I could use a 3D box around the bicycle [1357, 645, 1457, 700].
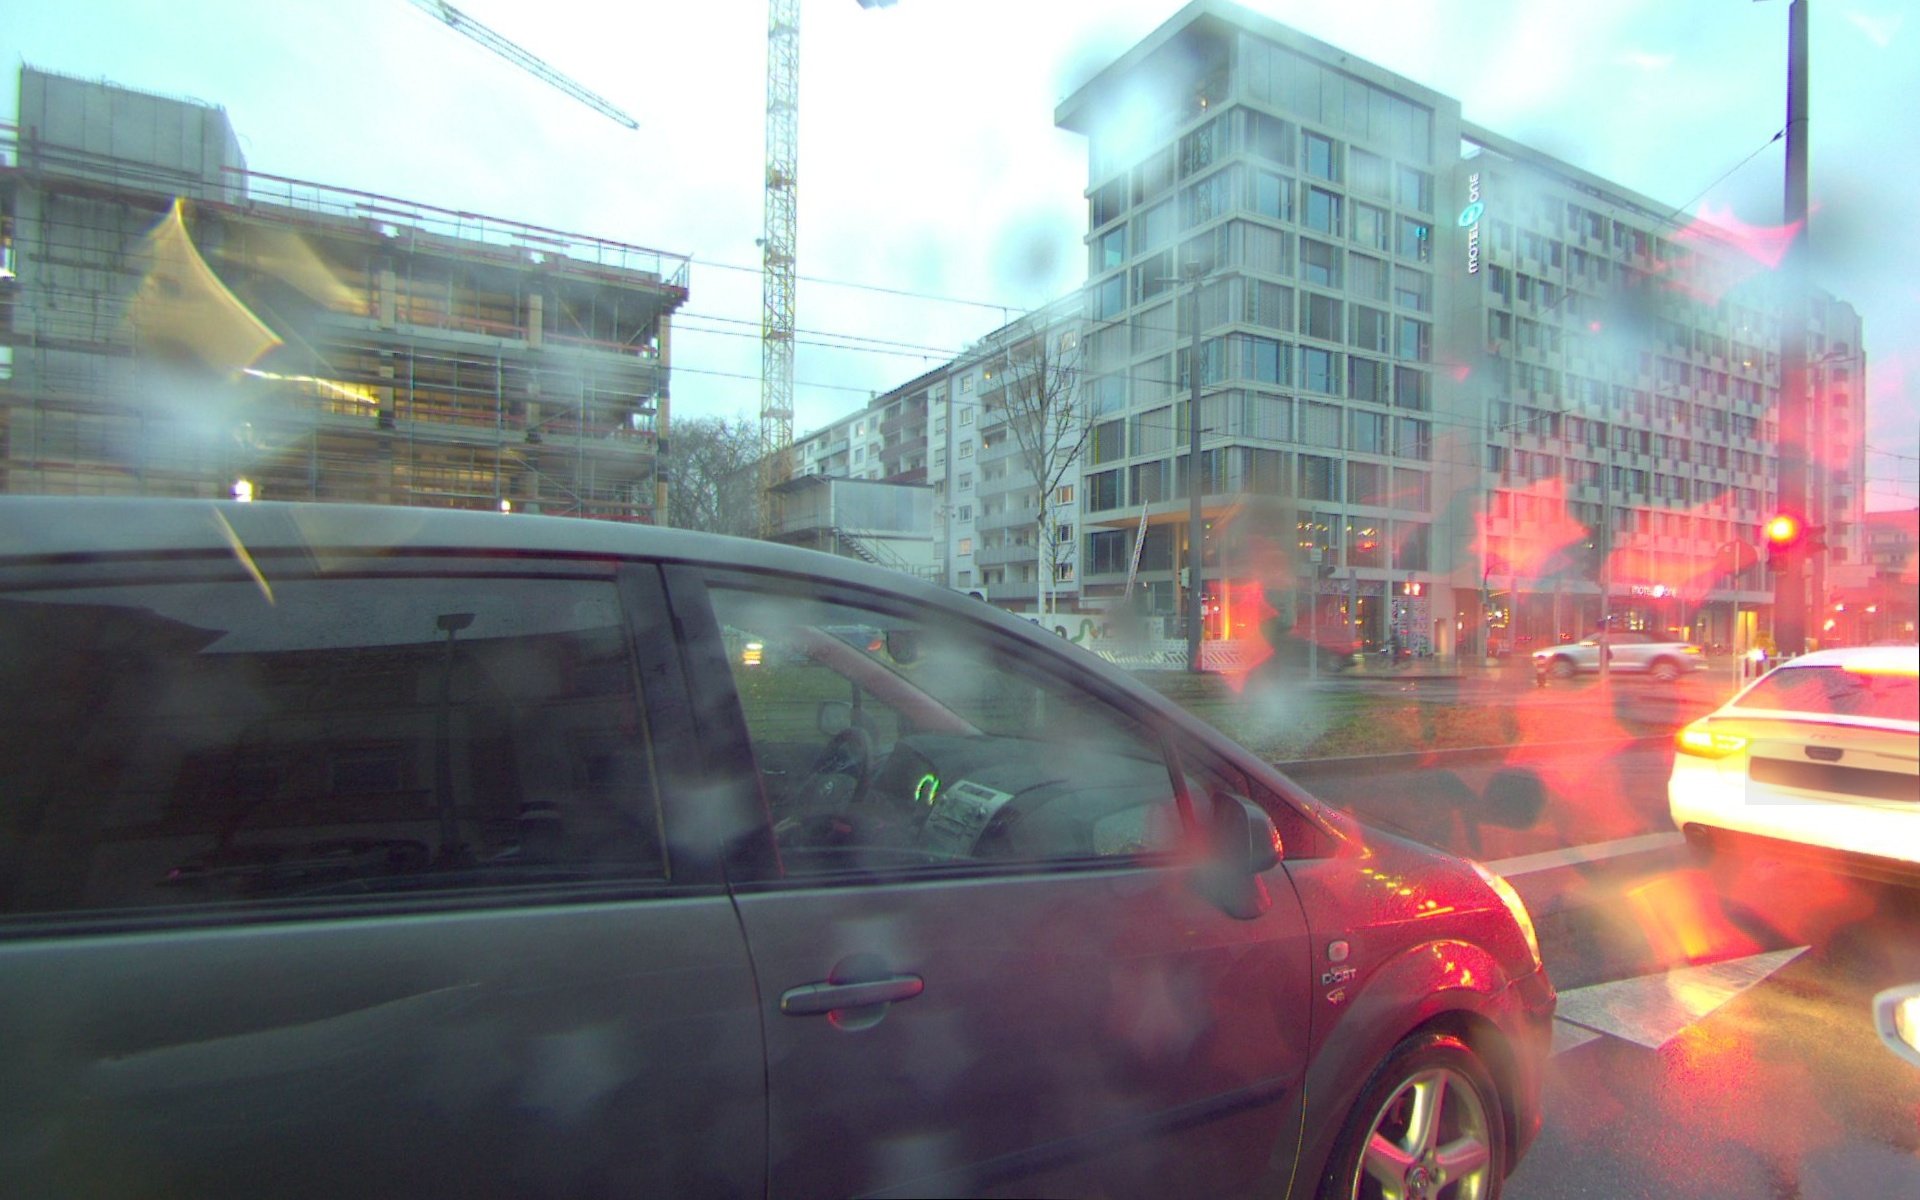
[{"bbox_3d":[19.323,3.093,43.556,1.180,2.040,3.964,2,0,-32],"label":"bicycle"}]

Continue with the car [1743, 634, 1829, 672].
[{"bbox_3d":[43.108,2.760,52.388,4.542,1.813,1.873,2,0,-28],"label":"car"}]

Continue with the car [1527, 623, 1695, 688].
[{"bbox_3d":[19.721,1.633,30.521,4.024,1.709,1.949,2,0,42],"label":"car"}]

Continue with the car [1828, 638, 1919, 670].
[{"bbox_3d":[45.713,2.685,50.192,5.035,1.481,1.984,2,0,-30],"label":"car"}]

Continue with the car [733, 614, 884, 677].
[{"bbox_3d":[-4.500,1.347,29.850,4.028,1.709,1.947,2,0,-25],"label":"car"}]

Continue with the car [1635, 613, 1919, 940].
[{"bbox_3d":[6.077,0.891,6.088,4.205,1.489,1.750,2,0,-32],"label":"car"}]

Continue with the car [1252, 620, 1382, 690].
[{"bbox_3d":[12.128,1.845,34.424,4.001,2.151,1.960,2,0,15],"label":"car"}]

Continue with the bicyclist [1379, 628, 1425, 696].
[{"bbox_3d":[19.224,2.678,43.730,1.180,2.865,1.340,2,0,-33],"label":"bicyclist"}]

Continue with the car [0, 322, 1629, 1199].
[{"bbox_3d":[-0.505,0.582,2.142,3.956,1.615,1.750,2,0,-32],"label":"car"}]
